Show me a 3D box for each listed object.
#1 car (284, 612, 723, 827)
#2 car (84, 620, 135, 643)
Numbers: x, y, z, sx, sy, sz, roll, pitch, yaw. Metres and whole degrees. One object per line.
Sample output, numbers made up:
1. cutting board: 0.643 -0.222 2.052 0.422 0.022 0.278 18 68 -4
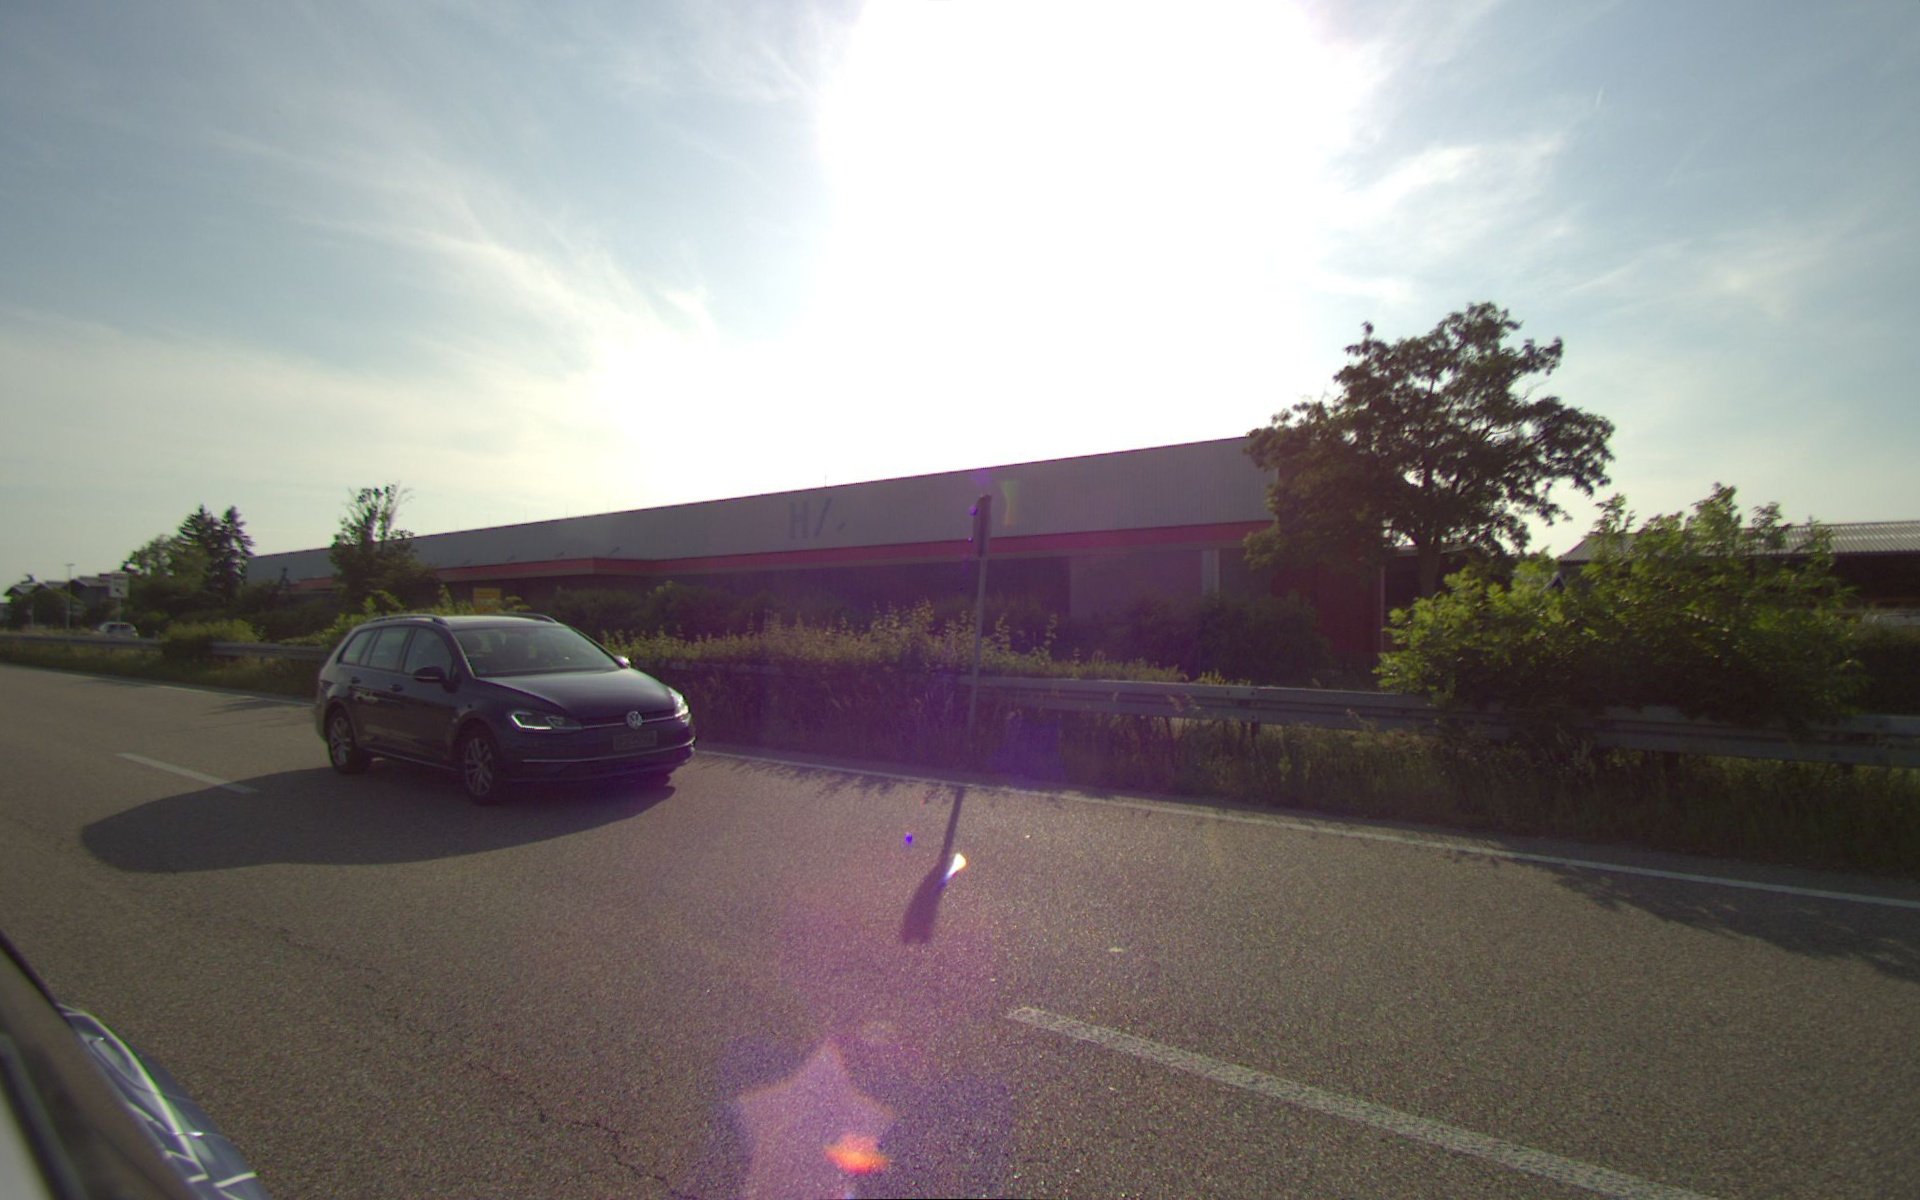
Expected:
1. car: -4.294 0.883 9.127 4.770 1.482 1.630 -1 -2 39
2. car: -54.420 2.001 64.747 3.996 1.435 1.762 -1 -2 39
